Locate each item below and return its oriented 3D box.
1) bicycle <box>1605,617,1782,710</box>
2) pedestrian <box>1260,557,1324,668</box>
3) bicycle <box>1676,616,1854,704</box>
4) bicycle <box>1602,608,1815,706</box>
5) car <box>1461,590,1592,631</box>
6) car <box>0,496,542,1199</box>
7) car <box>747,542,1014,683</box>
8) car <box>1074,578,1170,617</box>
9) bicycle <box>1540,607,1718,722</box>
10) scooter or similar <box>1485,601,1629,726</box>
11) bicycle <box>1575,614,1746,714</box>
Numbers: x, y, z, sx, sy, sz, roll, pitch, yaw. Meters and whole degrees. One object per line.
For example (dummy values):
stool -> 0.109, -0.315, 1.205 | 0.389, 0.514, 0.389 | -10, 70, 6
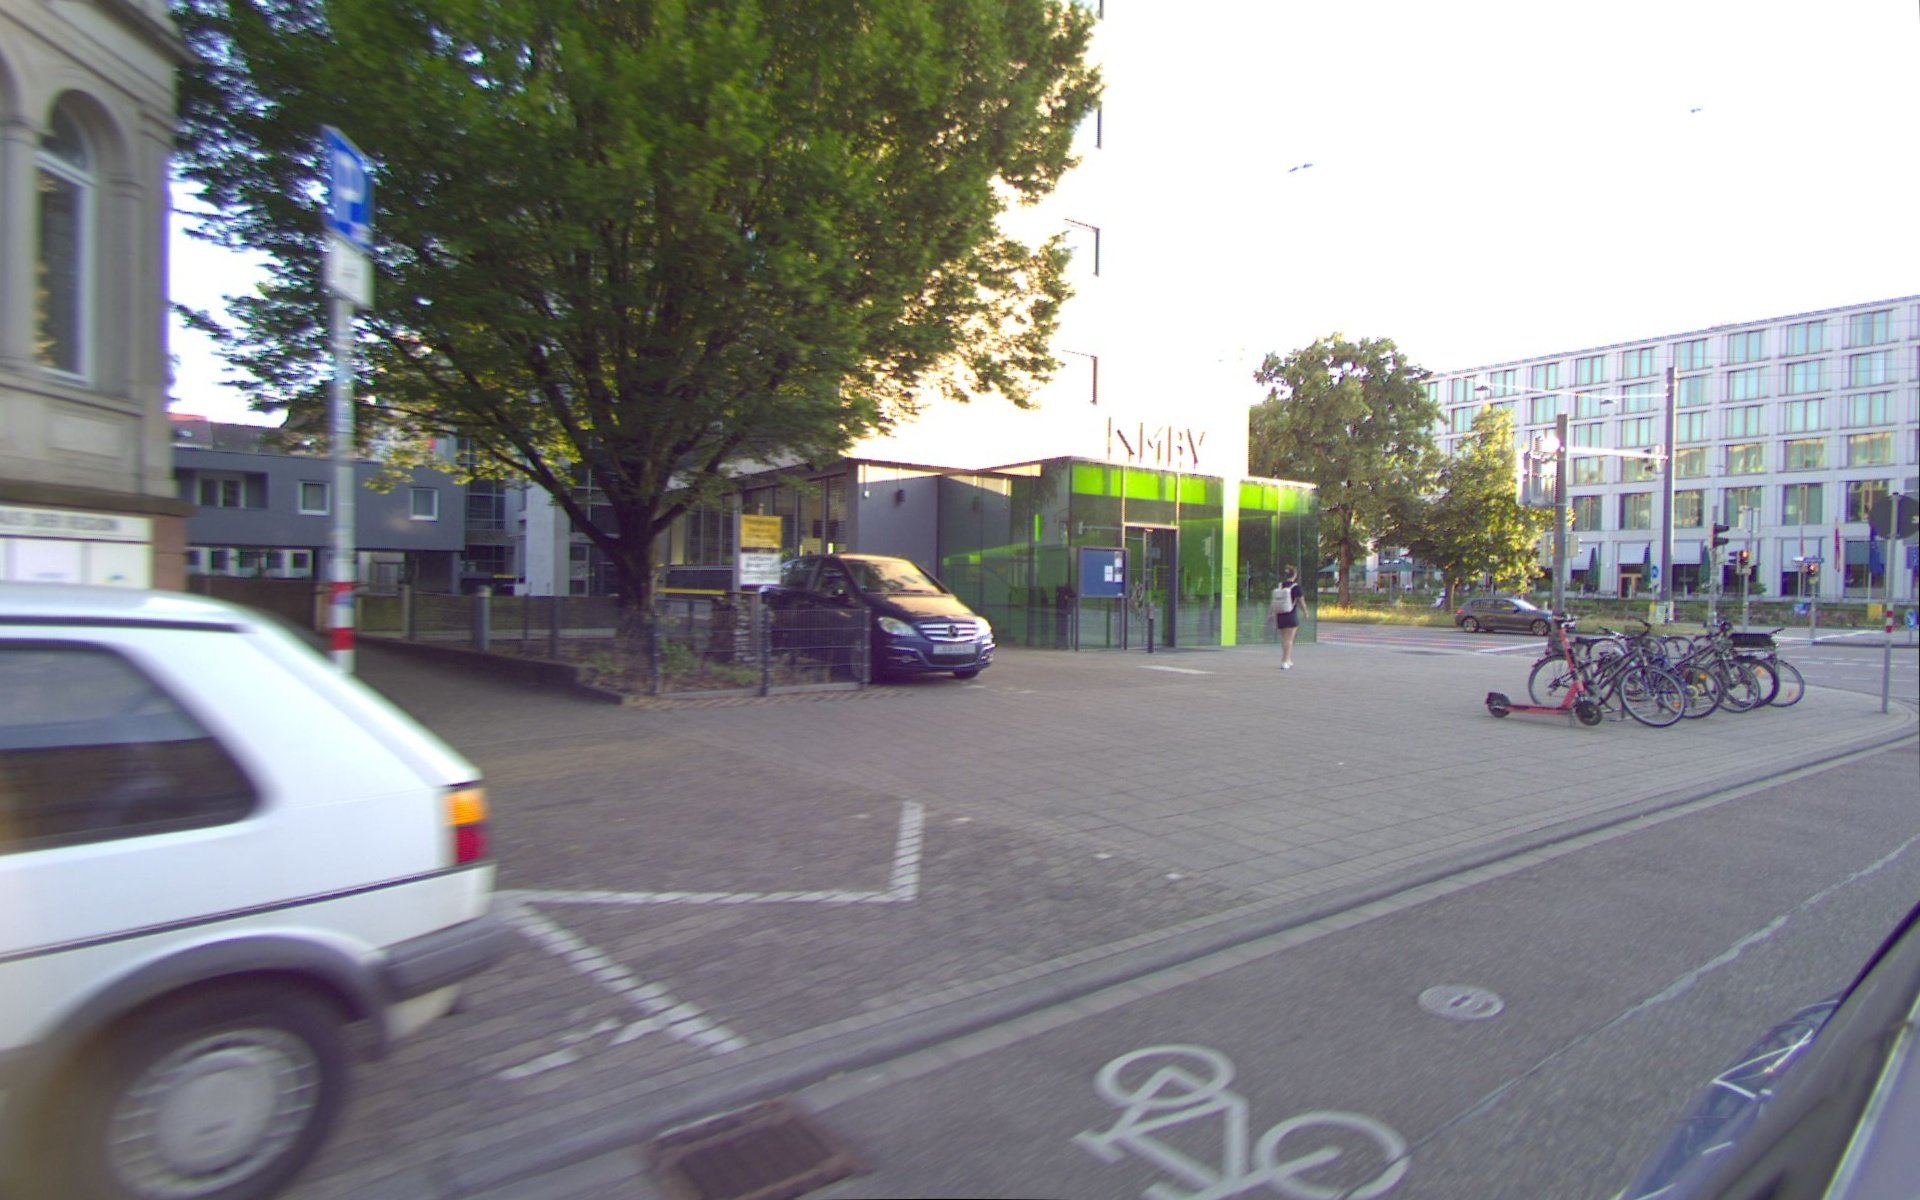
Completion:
bicycle -> 9.732, 0.804, 13.498 | 0.730, 1.088, 1.762 | 0, 1, -33
pedestrian -> 5.565, 0.190, 16.955 | 0.705, 1.790, 0.975 | 1, 1, 40
bicycle -> 11.326, 0.804, 14.328 | 0.728, 1.088, 1.870 | 1, 1, -18
bicycle -> 10.318, 0.735, 14.055 | 0.730, 1.146, 2.239 | 1, 2, -33
car -> 22.047, 0.361, 39.535 | 1.665, 1.438, 4.176 | 0, 2, -33
car -> -3.079, 0.533, 1.834 | 3.934, 1.571, 1.682 | 0, 4, -44
car -> -1.219, 0.106, 13.617 | 1.769, 1.594, 3.997 | 2, 0, -35
car -> 6.567, -0.140, 41.312 | 1.667, 1.428, 3.869 | -3, 3, -35
bicycle -> 7.672, 0.696, 11.665 | 0.730, 1.177, 1.532 | 1, 1, -33
scooter or similar -> 6.603, 0.665, 11.240 | 0.579, 1.240, 1.204 | 1, 2, -34
bicycle -> 8.534, 0.741, 12.387 | 0.730, 1.088, 1.557 | 0, 1, -33
